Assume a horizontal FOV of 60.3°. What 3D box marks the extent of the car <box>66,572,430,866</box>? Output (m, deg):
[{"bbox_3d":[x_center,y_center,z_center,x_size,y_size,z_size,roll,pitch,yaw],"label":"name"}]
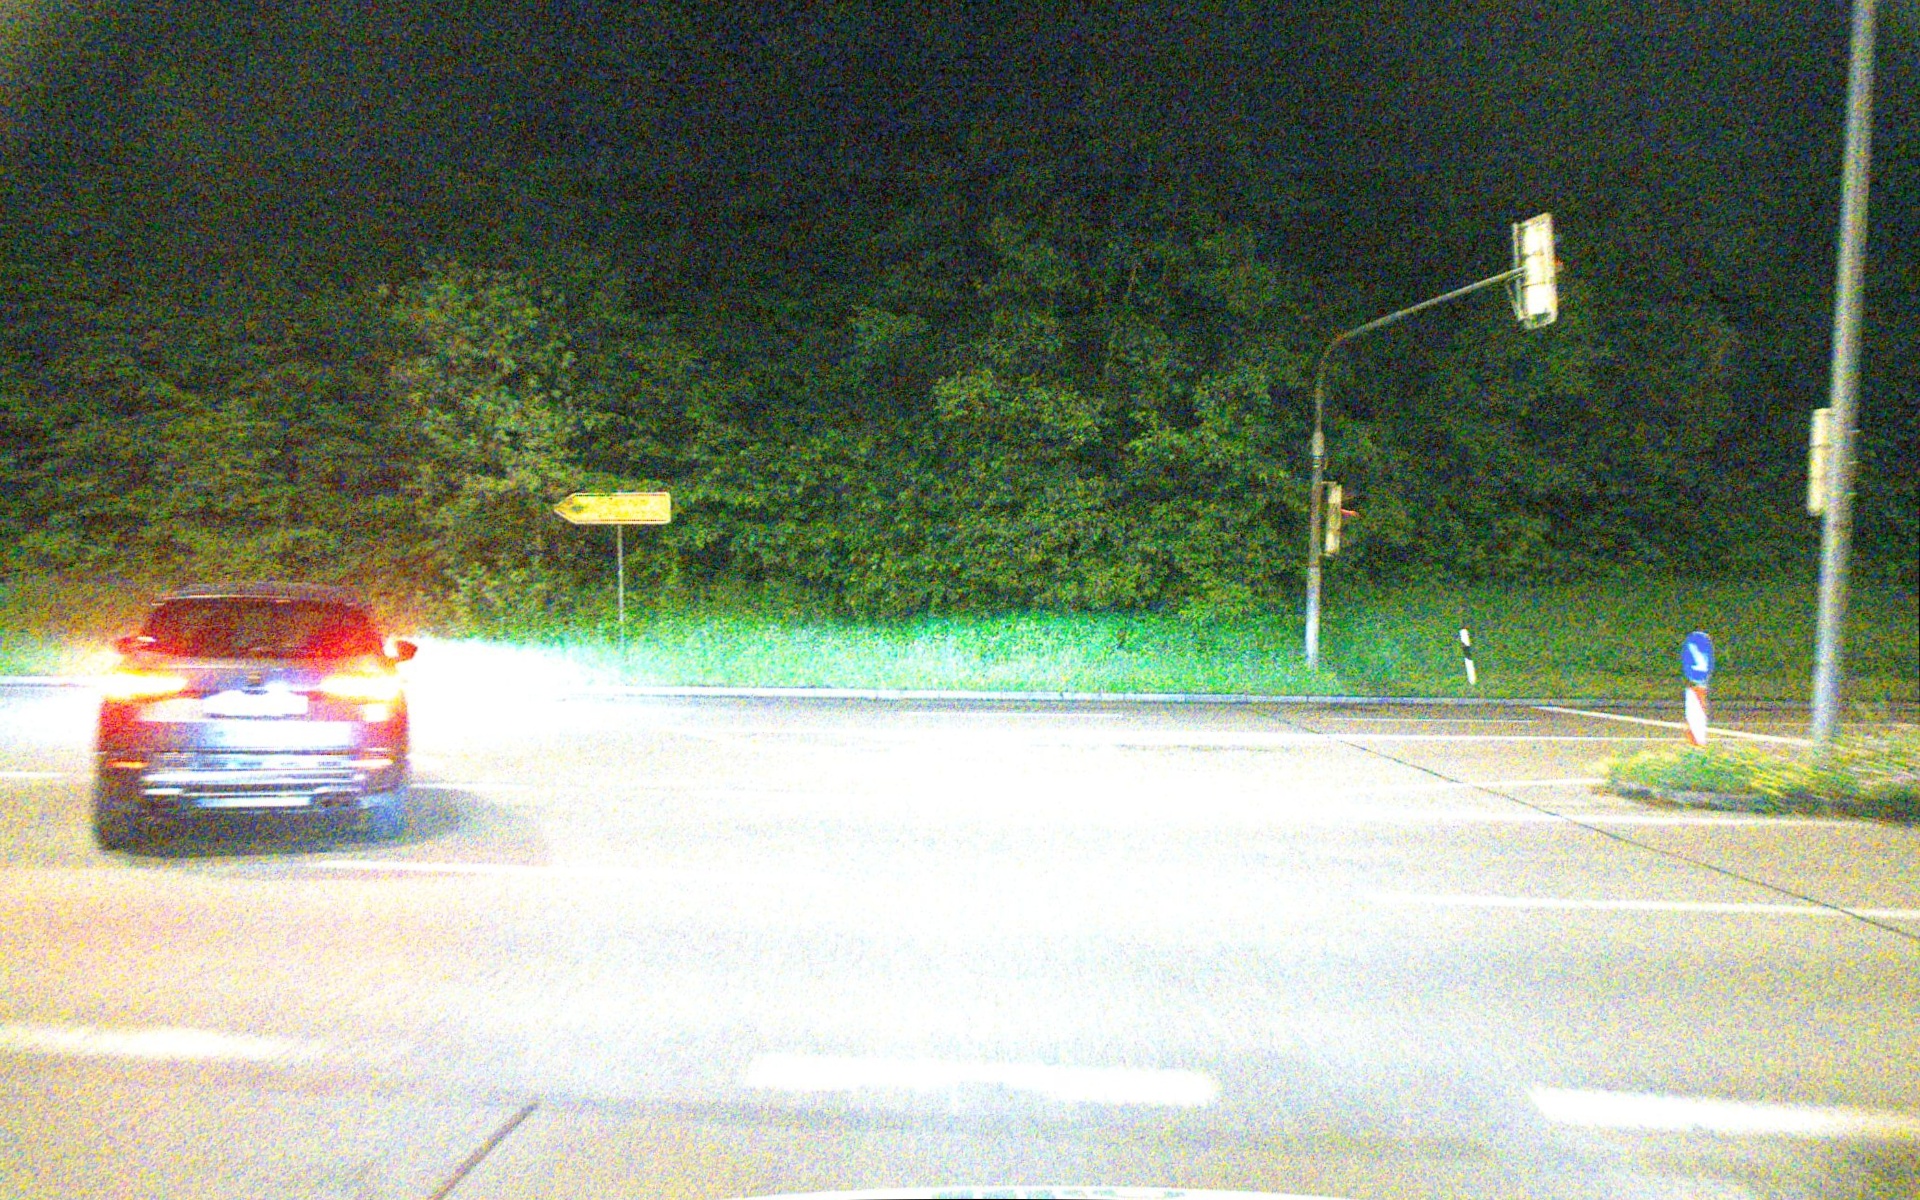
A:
[{"bbox_3d":[-4.599,0.655,11.247,1.822,1.610,3.987,1,0,-17],"label":"car"}]
